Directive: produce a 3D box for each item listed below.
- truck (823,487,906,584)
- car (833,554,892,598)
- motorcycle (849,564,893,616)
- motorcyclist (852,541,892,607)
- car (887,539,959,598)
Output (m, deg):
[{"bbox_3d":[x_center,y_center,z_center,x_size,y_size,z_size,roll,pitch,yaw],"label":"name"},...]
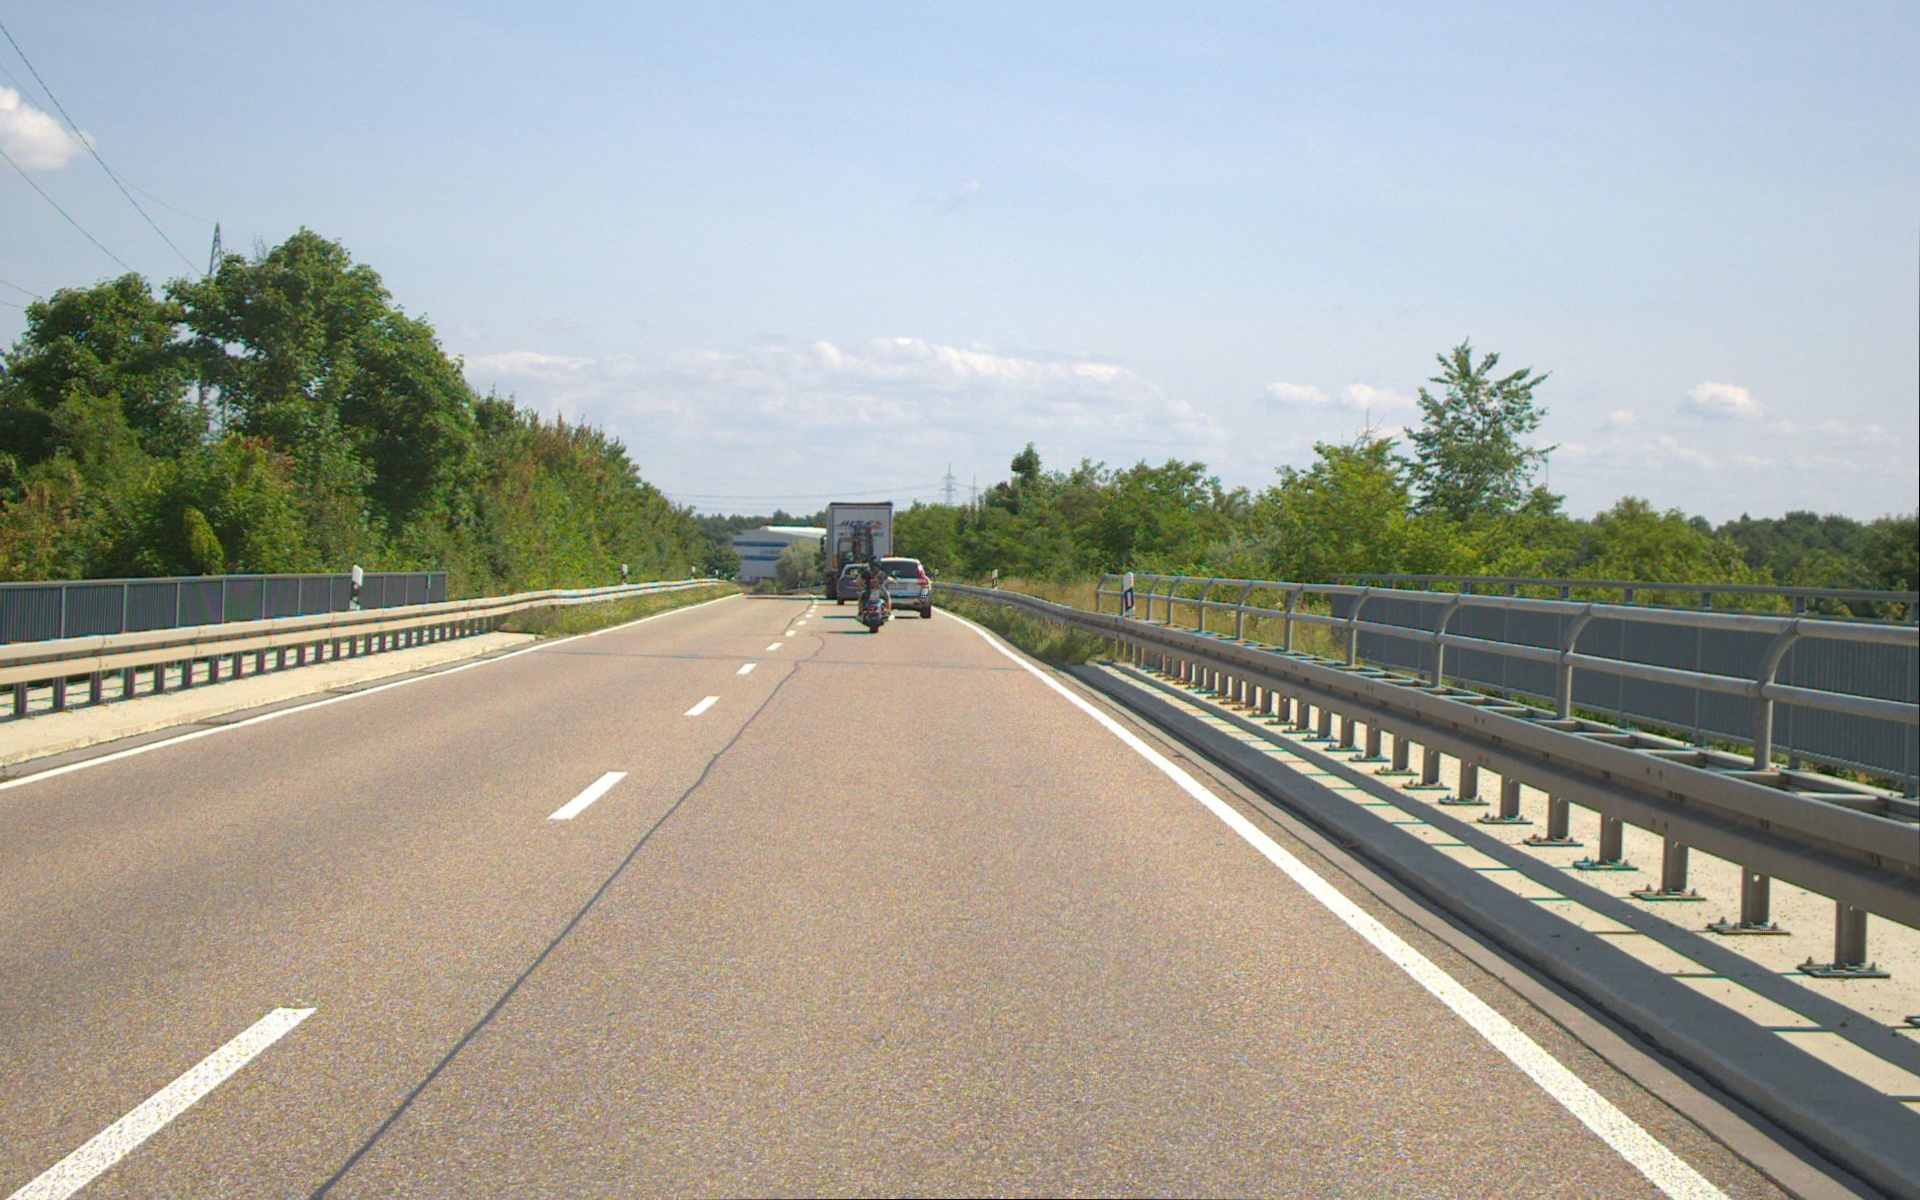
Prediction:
[{"bbox_3d":[-4.018,-2.725,146.433,3.241,3.965,9.444,1,1,0],"label":"truck"},{"bbox_3d":[-3.365,-0.851,119.412,1.866,1.415,4.000,1,1,0],"label":"car"},{"bbox_3d":[-1.786,-0.209,69.311,0.780,0.972,2.361,1,1,1],"label":"motorcycle"},{"bbox_3d":[-1.773,-0.529,69.324,0.780,1.321,0.813,1,1,1],"label":"motorcyclist"},{"bbox_3d":[-0.973,-0.829,89.177,1.825,1.446,4.000,1,1,-1],"label":"car"}]
